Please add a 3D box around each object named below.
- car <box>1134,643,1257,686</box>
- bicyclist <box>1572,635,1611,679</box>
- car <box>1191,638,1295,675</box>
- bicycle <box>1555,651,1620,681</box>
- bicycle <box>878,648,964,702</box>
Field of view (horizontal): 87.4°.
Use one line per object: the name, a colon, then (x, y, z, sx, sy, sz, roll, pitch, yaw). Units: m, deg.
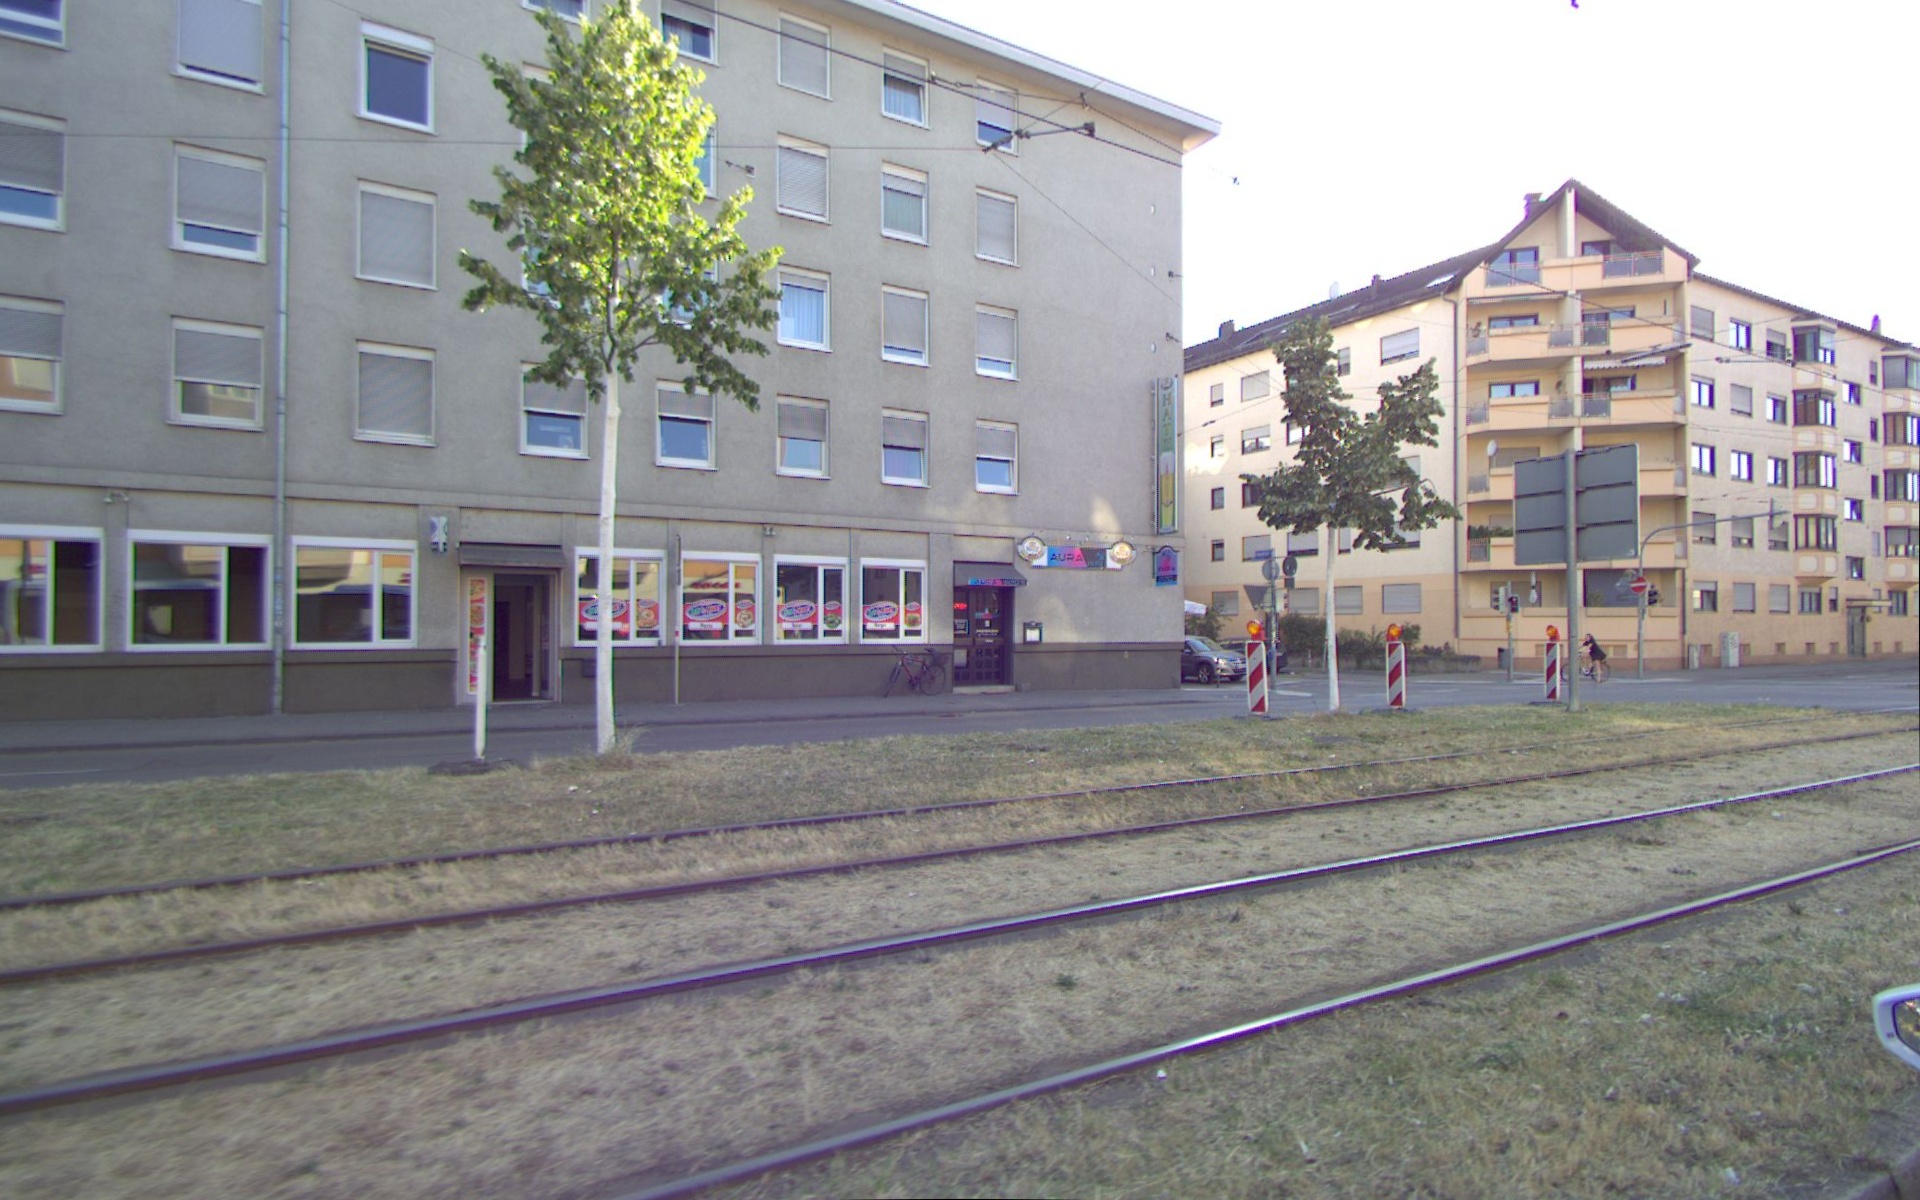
car: (8.366, 2.268, 35.927, 1.751, 1.406, 4.075, 2, -2, -39)
bicyclist: (21.267, 1.905, 33.845, 0.946, 1.466, 0.529, 0, -2, 1)
car: (11.830, 2.343, 42.135, 1.776, 1.458, 3.926, 2, -3, -39)
bicycle: (21.127, 2.226, 33.825, 1.846, 0.997, 0.529, 0, -2, 1)
bicycle: (-0.852, 1.643, 22.178, 1.757, 1.129, 0.743, 1, -2, -30)
